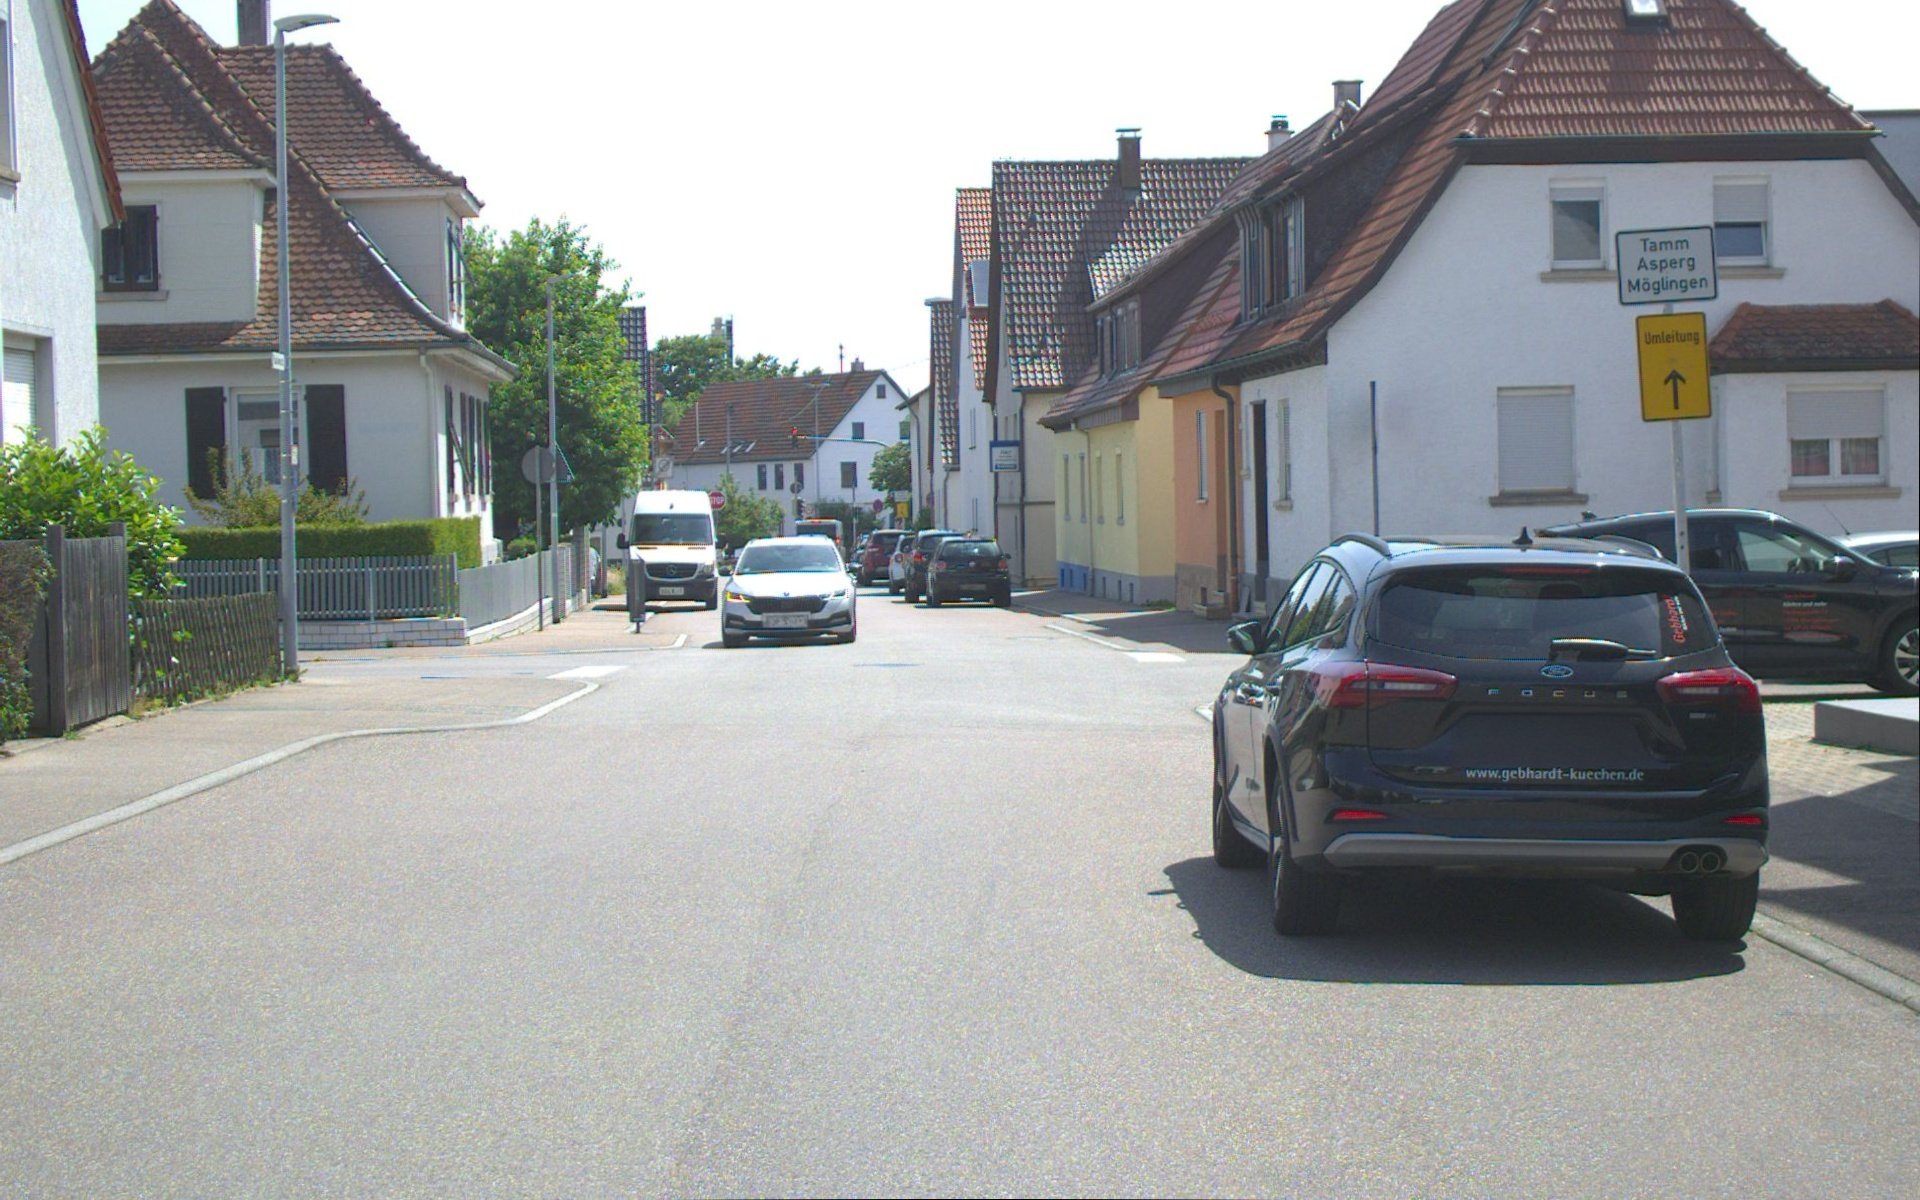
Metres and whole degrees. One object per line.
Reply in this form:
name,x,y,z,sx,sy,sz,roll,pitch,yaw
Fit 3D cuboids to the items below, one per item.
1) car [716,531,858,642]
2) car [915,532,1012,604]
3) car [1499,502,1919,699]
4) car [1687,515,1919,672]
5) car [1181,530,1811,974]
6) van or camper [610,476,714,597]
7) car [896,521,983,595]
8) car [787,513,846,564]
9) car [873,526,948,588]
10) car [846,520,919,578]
car,-2.345,-0.220,47.587,1.753,1.433,4.588,0,1,0
car,0.049,-0.681,71.101,1.610,1.426,3.755,0,1,-6
car,6.951,-0.017,30.042,4.294,1.647,1.848,0,1,5
car,9.323,-0.085,33.883,3.987,1.499,1.694,0,1,2
car,1.998,0.482,14.097,1.761,1.522,4.406,0,1,-2
van or camper,-6.566,-1.415,76.225,2.184,2.563,6.808,0,1,-4
car,-0.489,-0.958,76.854,1.728,1.594,4.254,0,1,-3
car,-6.212,-2.677,148.902,2.129,2.151,4.736,-1,1,2
car,-1.304,-1.116,88.768,1.673,1.553,3.041,0,1,-6
car,-2.352,-1.561,103.731,1.875,1.694,4.184,-1,1,-6
